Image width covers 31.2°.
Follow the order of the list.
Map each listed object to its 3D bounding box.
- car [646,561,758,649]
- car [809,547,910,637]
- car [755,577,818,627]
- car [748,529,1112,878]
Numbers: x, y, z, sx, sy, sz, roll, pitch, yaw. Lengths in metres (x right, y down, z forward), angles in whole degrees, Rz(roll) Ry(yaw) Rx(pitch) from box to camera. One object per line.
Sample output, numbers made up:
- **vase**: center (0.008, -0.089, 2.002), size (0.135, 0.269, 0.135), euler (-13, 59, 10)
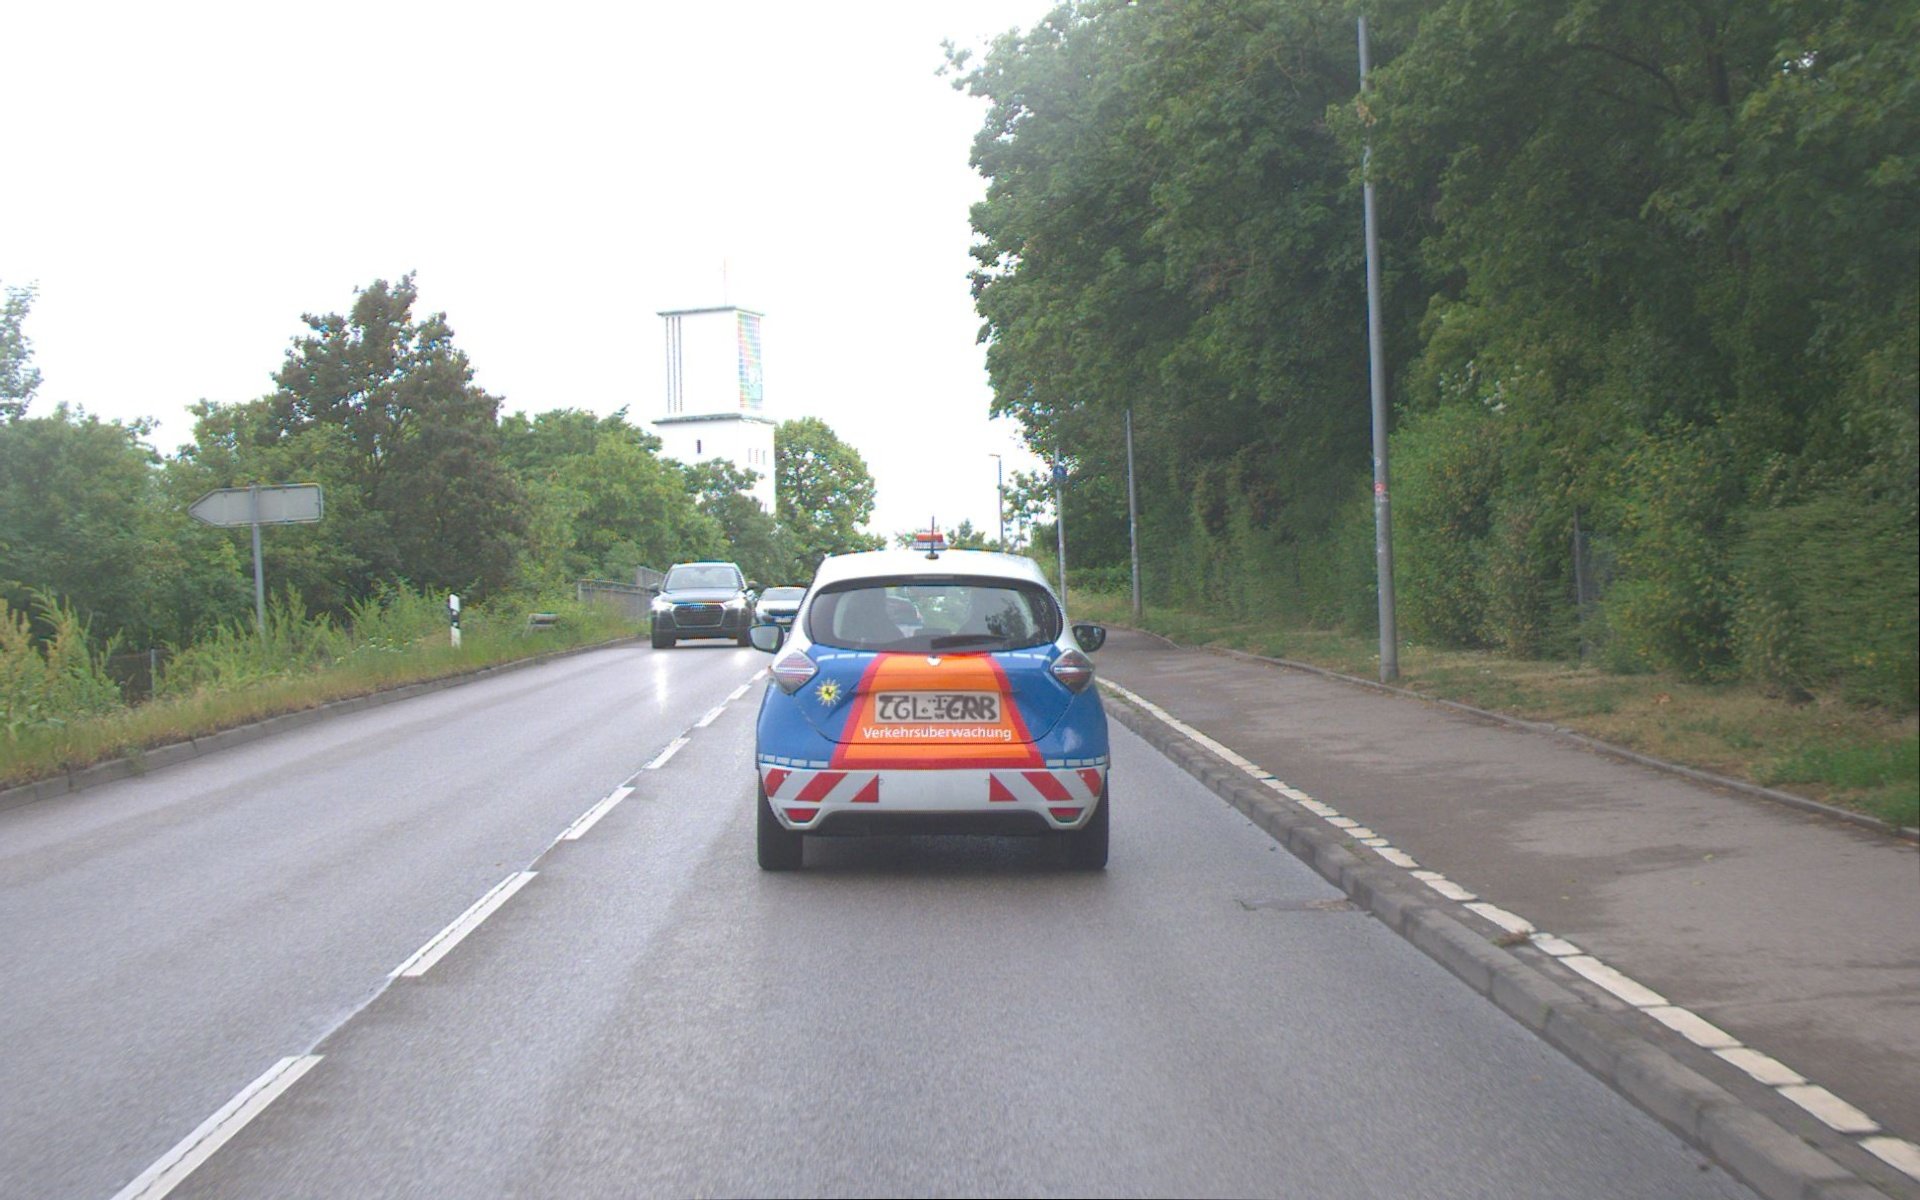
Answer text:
- **car**: center (-4.945, 0.073, 66.282), size (1.869, 1.580, 4.415), euler (-1, 1, -1)
- **car**: center (-1.918, -0.147, 65.151), size (1.802, 1.584, 3.563), euler (-2, 0, -2)
- **car**: center (-5.463, 0.058, 108.678), size (1.861, 1.498, 4.728), euler (-1, 0, -1)
- **car**: center (-0.174, 0.492, 17.702), size (1.657, 1.587, 3.568), euler (-1, 0, -1)
